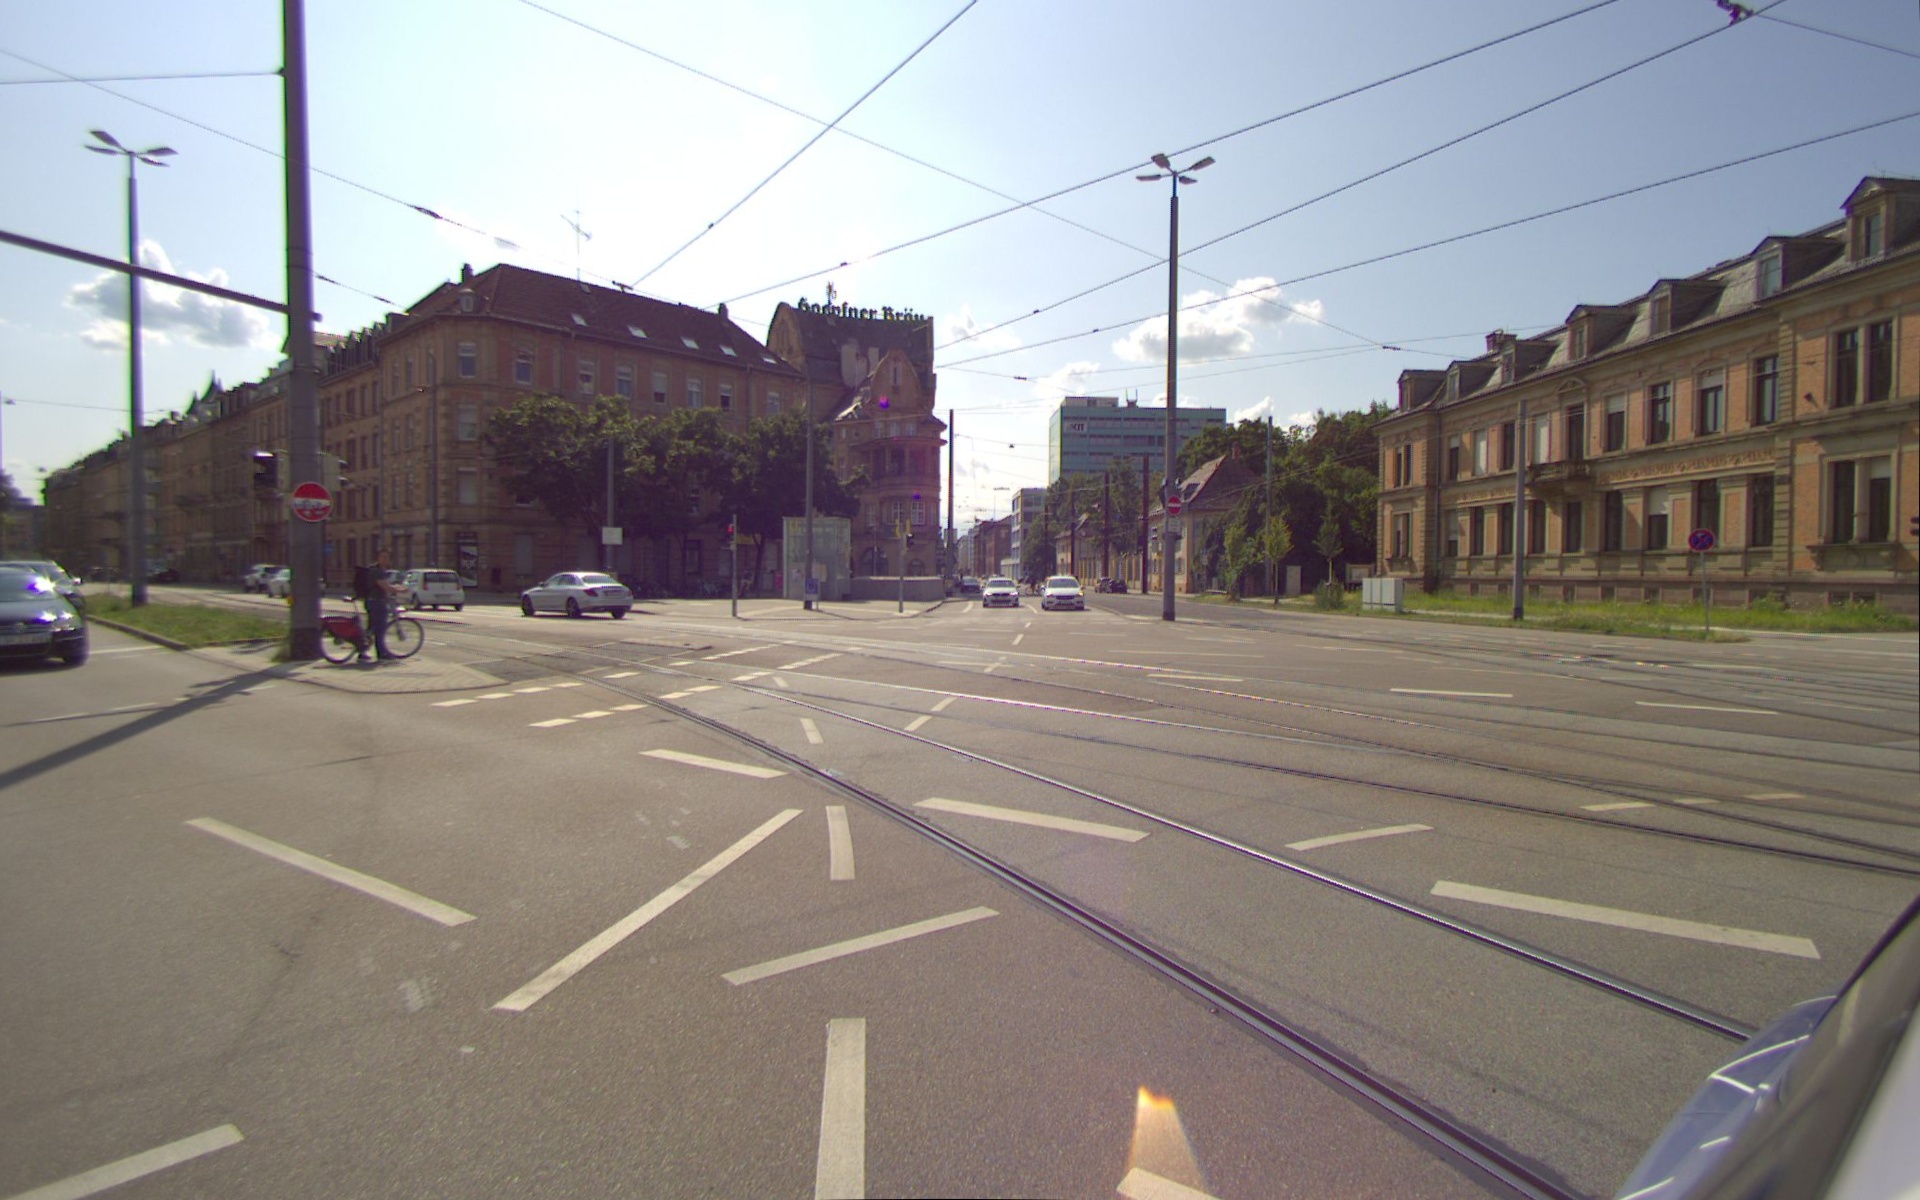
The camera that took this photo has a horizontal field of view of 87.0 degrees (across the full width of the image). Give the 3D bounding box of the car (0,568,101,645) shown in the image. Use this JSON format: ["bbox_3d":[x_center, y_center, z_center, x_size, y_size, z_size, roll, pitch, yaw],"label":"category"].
[{"bbox_3d":[-19.632,0.071,21.392,3.952,1.479,1.670,2,3,41],"label":"car"}]

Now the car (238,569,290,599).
[{"bbox_3d":[-40.354,-0.905,58.635,3.988,1.673,1.813,0,0,45],"label":"car"}]

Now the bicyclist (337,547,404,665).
[{"bbox_3d":[-9.061,0.088,15.551,0.634,1.760,0.655,1,0,31],"label":"bicyclist"}]

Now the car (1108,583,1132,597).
[{"bbox_3d":[15.981,-1.008,101.168,1.964,1.393,3.997,0,1,4],"label":"car"}]

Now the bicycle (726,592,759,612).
[{"bbox_3d":[-11.015,0.101,51.241,0.834,0.982,1.958,-1,1,-39],"label":"bicycle"}]

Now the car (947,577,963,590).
[{"bbox_3d":[-0.767,-2.248,140.516,1.960,1.838,4.004,0,0,-4],"label":"car"}]

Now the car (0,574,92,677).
[{"bbox_3d":[-14.486,0.324,15.005,3.621,1.390,1.720,1,3,37],"label":"car"}]

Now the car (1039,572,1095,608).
[{"bbox_3d":[4.775,-0.476,44.871,1.962,1.502,3.984,0,1,14],"label":"car"}]

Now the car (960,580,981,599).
[{"bbox_3d":[0.965,-1.010,97.239,1.687,1.704,3.930,0,0,-4],"label":"car"}]

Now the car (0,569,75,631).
[{"bbox_3d":[-24.202,-0.035,26.088,1.875,1.479,3.959,-2,3,-44],"label":"car"}]

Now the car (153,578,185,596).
[{"bbox_3d":[-74.996,-1.199,95.971,3.986,1.673,1.814,0,0,44],"label":"car"}]

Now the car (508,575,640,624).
[{"bbox_3d":[-12.476,-0.075,32.599,4.736,1.473,1.909,1,2,40],"label":"car"}]

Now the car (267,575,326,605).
[{"bbox_3d":[-32.683,-0.482,49.821,1.825,1.437,3.670,0,0,-43],"label":"car"}]

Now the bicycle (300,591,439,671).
[{"bbox_3d":[-9.033,0.440,15.545,0.634,1.139,1.765,1,1,30],"label":"bicycle"}]

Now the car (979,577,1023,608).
[{"bbox_3d":[2.129,-0.426,51.125,2.010,1.448,4.534,-1,1,5],"label":"car"}]

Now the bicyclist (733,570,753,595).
[{"bbox_3d":[-10.995,-0.875,51.197,0.626,1.235,0.923,-2,3,-40],"label":"bicyclist"}]

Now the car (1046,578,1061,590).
[{"bbox_3d":[14.047,-2.381,151.911,1.962,1.838,4.000,0,1,1],"label":"car"}]

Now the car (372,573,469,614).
[{"bbox_3d":[-19.830,-0.277,37.139,3.977,1.439,1.633,1,2,37],"label":"car"}]

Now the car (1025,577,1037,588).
[{"bbox_3d":[12.566,-3.083,179.882,1.962,1.838,4.000,0,1,1],"label":"car"}]

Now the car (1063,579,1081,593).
[{"bbox_3d":[14.568,-1.849,131.620,1.962,1.838,4.000,0,1,1],"label":"car"}]
